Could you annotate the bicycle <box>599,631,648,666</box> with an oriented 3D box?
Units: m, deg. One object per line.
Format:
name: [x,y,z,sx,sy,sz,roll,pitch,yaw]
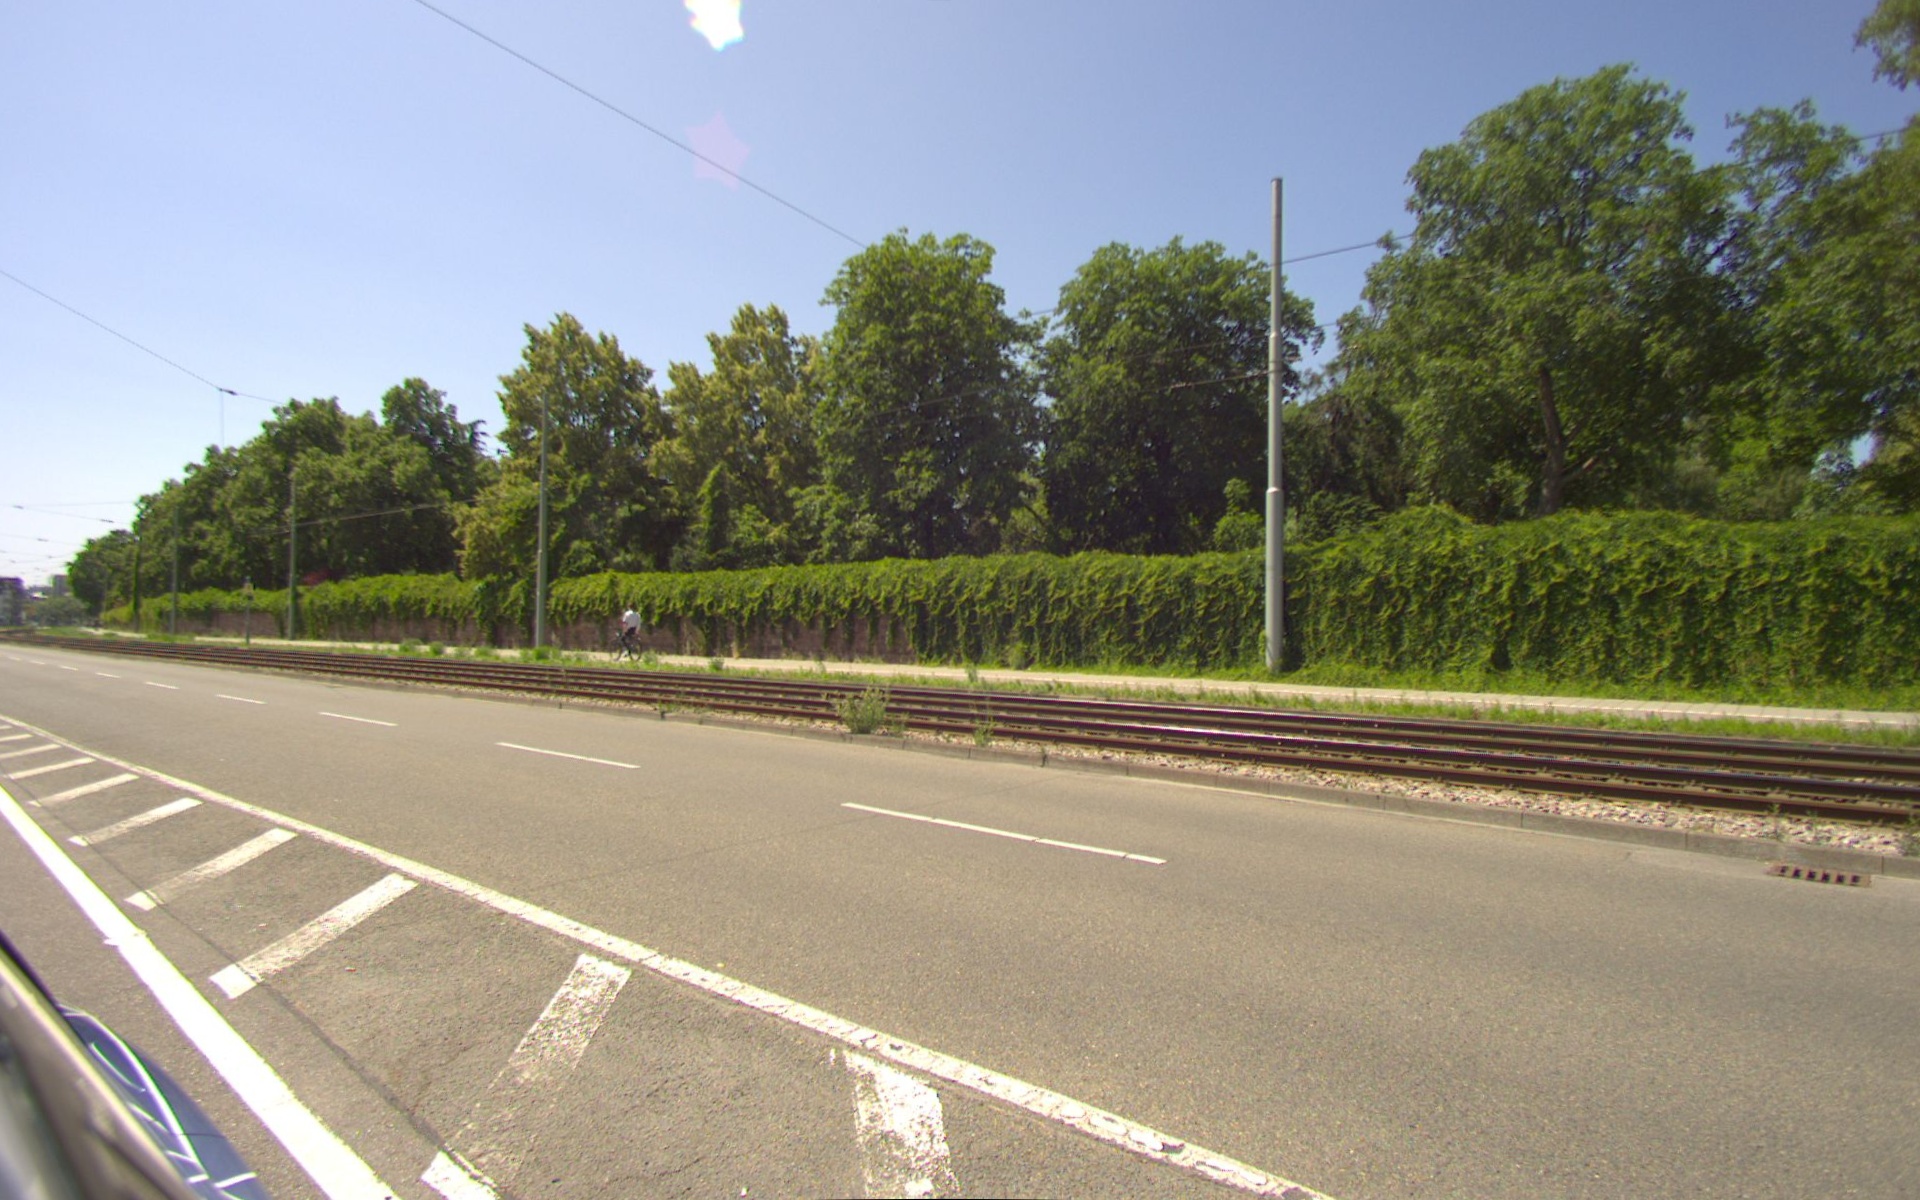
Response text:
bicycle: [-10.797,1.542,32.415,1.978,1.063,0.609,-1,0,43]

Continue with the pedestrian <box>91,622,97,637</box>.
pedestrian: [-99.833,3.398,116.637,0.302,1.677,0.447,-2,-1,41]

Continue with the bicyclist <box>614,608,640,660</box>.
bicyclist: [-10.609,1.070,32.240,0.768,1.624,0.477,-1,0,41]
